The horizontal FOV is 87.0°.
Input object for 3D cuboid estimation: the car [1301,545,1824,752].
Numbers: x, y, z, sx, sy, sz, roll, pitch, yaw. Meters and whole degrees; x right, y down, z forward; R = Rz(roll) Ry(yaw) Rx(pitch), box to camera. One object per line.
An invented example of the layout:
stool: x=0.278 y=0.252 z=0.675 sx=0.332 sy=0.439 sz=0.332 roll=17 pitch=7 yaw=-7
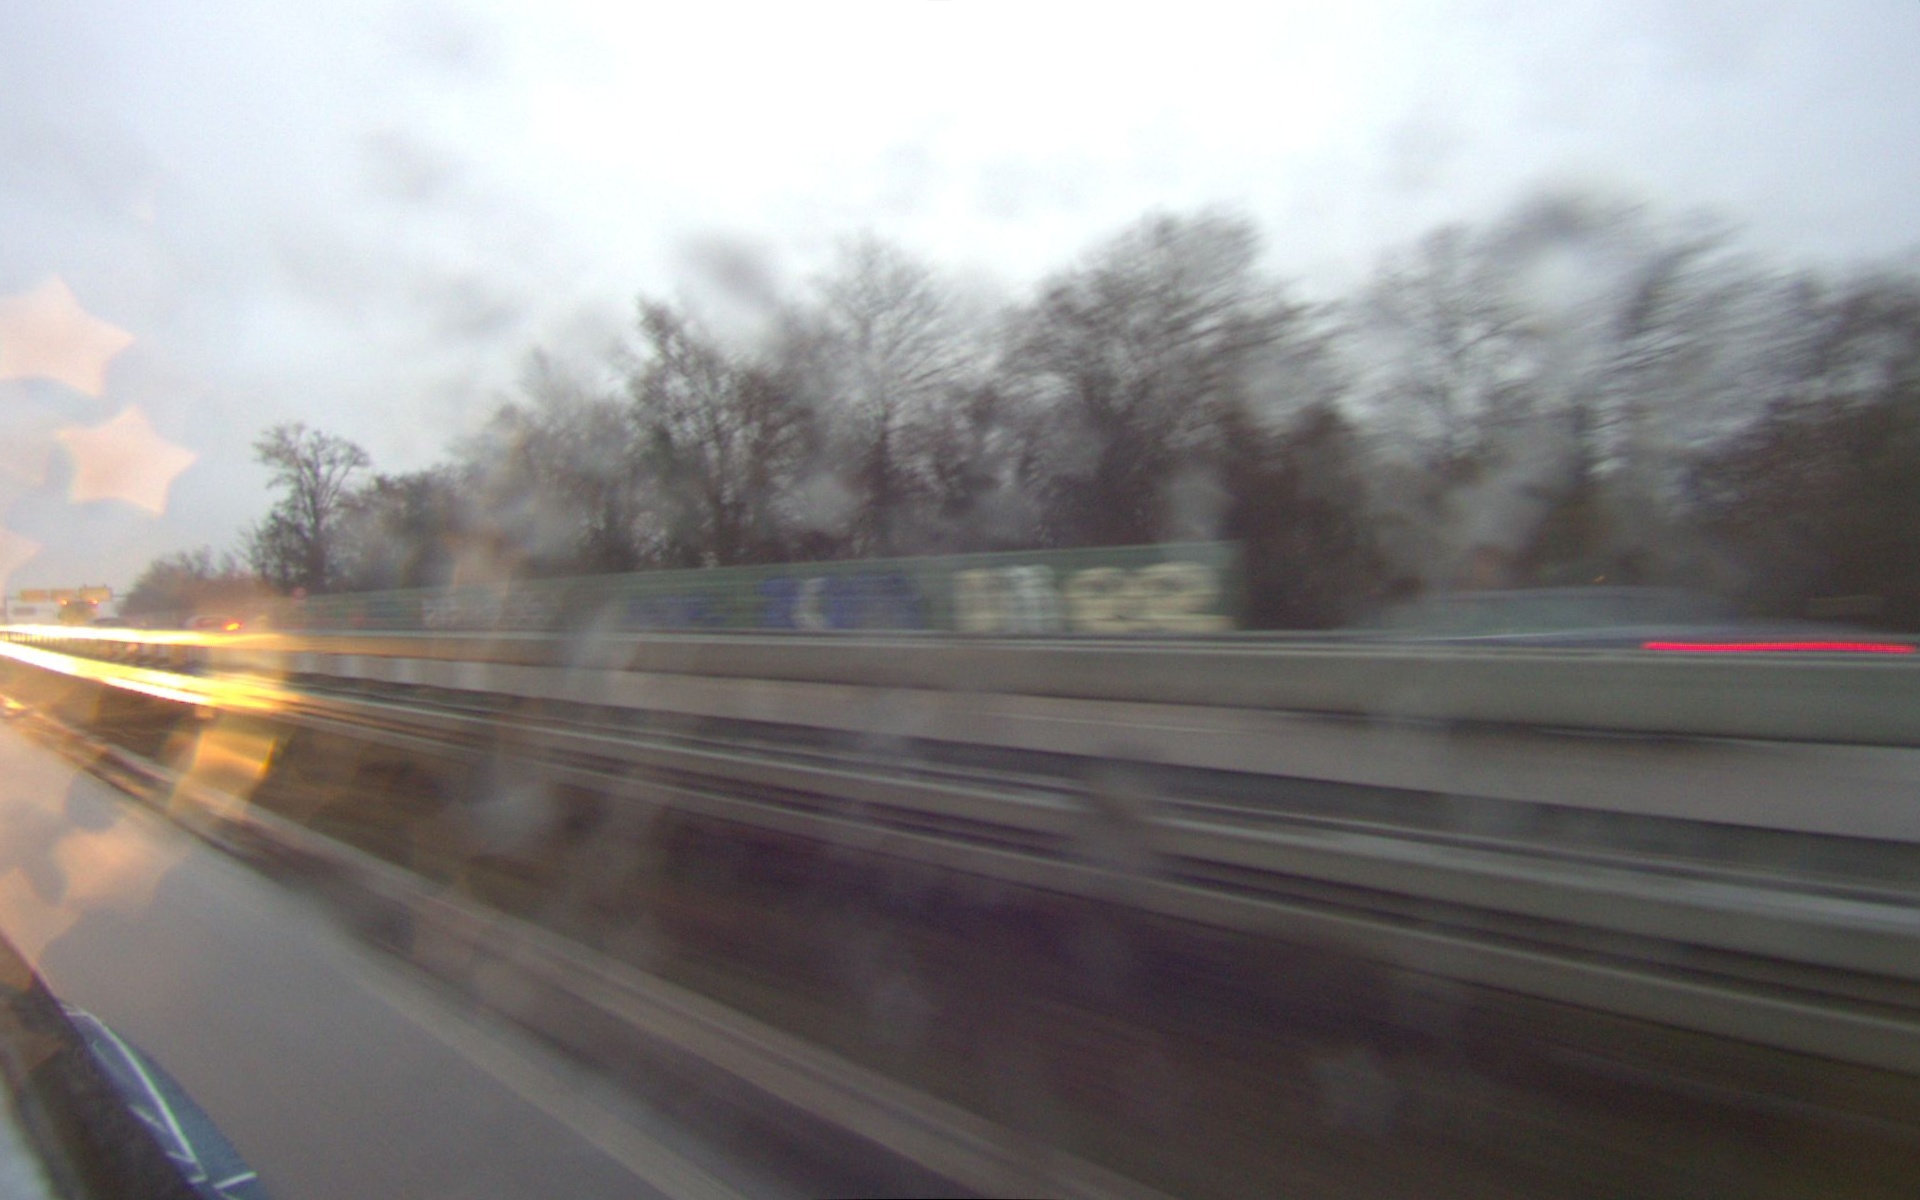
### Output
car: x=5.729 y=0.394 z=9.942 sx=4.177 sy=1.619 sz=1.709 roll=-1 pitch=0 yaw=41

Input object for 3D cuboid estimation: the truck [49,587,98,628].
truck: x=-89.638 y=0.760 z=102.271 sx=9.372 sy=3.886 sz=3.043 roll=-1 pitch=0 yaw=45

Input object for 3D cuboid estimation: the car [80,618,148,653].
car: x=-39.436 y=1.607 z=47.130 sx=4.671 sy=1.493 sz=1.844 roll=-1 pitch=0 yaw=43

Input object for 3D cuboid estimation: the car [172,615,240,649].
car: x=-37.039 y=1.543 z=49.680 sx=4.284 sy=1.525 sz=1.972 roll=-1 pitch=0 yaw=43

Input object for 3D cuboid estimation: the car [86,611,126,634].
car: x=-67.012 y=1.751 z=79.425 sx=4.000 sy=1.661 sz=1.972 roll=-1 pitch=0 yaw=43
